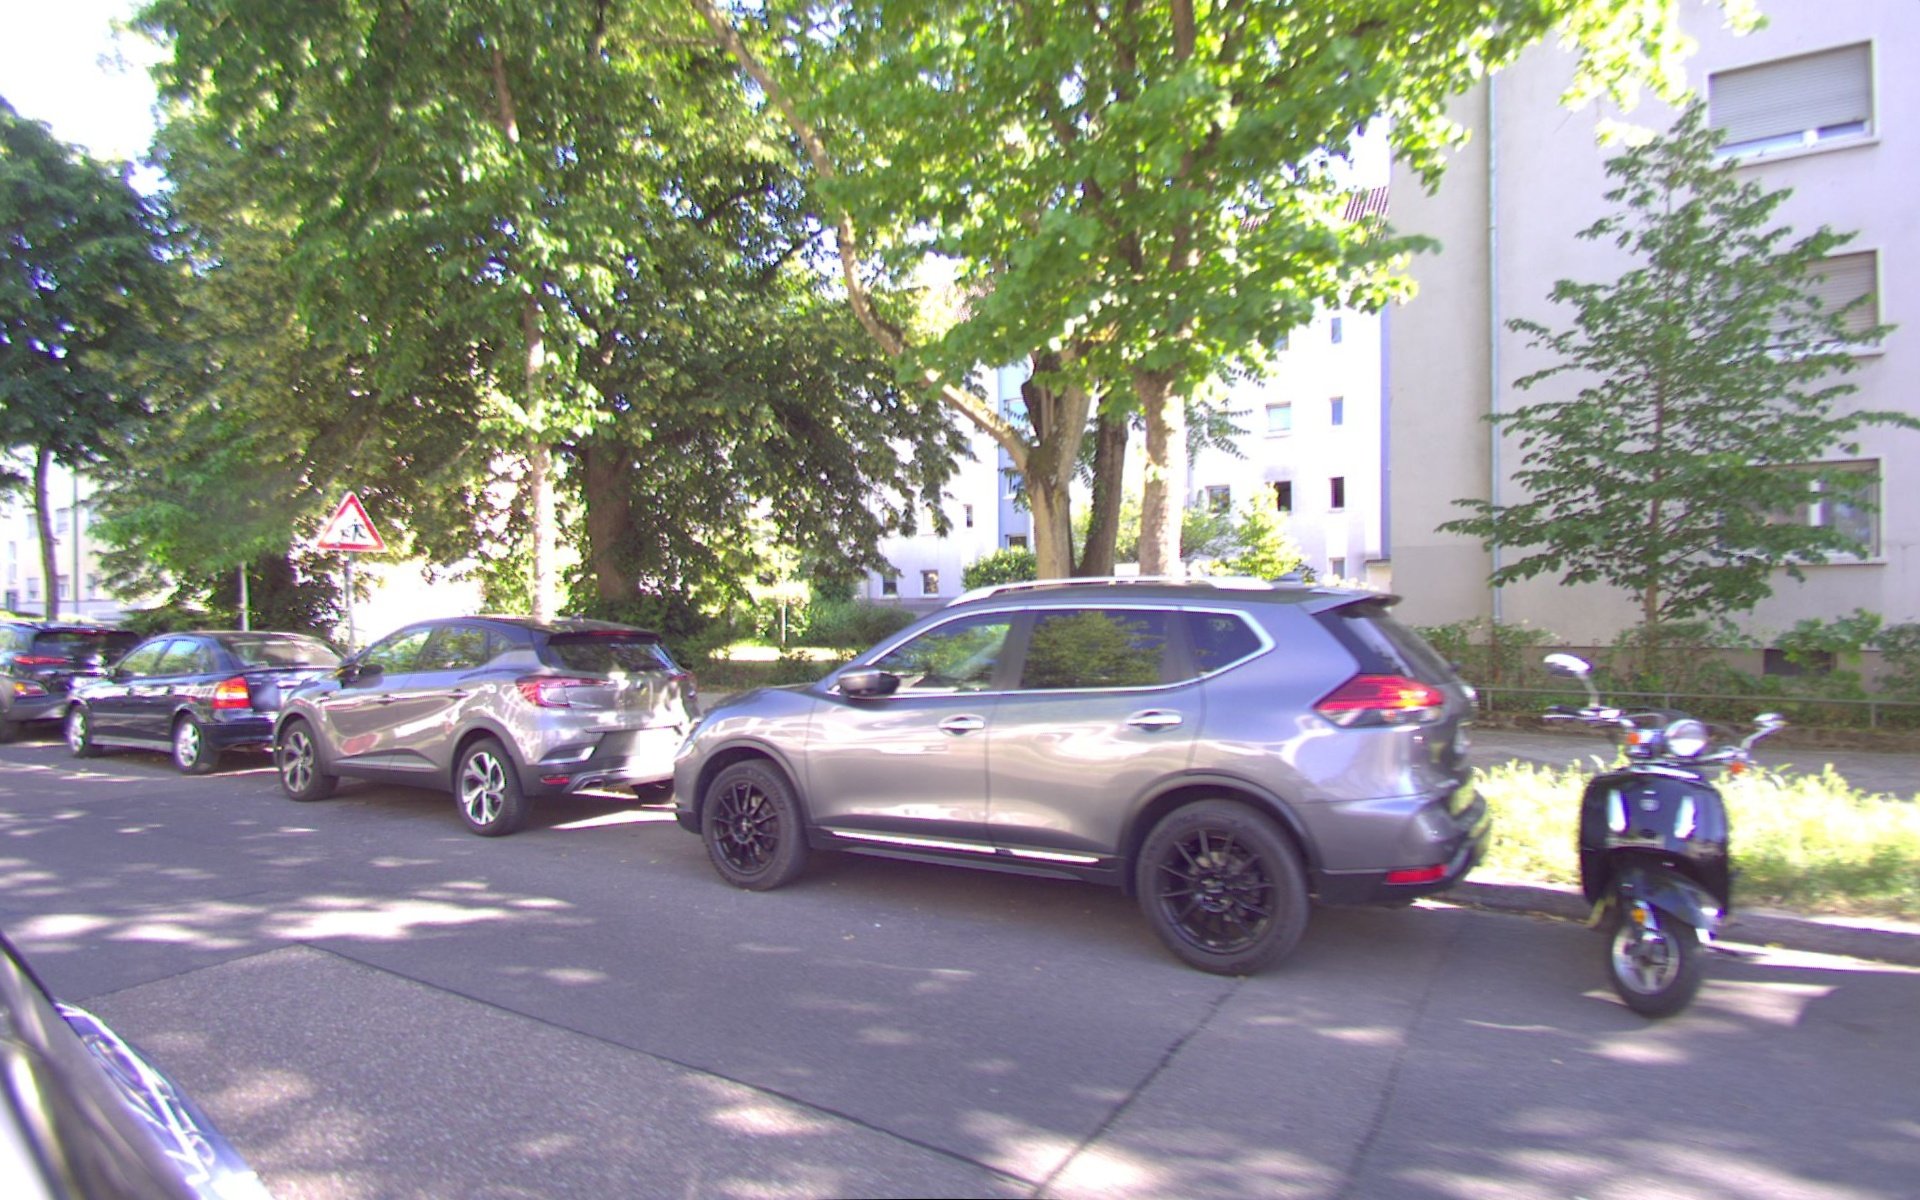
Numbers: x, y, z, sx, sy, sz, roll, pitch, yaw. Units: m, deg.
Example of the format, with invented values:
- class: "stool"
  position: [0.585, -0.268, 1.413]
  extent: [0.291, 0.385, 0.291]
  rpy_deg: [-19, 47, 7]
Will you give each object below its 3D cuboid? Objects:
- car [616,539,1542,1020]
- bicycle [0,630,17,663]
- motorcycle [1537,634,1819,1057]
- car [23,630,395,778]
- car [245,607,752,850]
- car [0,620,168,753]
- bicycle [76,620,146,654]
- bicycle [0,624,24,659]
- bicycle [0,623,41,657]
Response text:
- class: "car"
  position: [0.429, 0.686, 5.593]
  extent: [4.796, 1.701, 1.755]
  rpy_deg: [-1, -2, 31]
- class: "bicycle"
  position: [-31.919, 1.525, 33.490]
  extent: [1.927, 1.069, 0.568]
  rpy_deg: [-1, 0, 33]
- class: "motorcycle"
  position: [3.104, 0.834, 4.315]
  extent: [0.786, 1.342, 1.934]
  rpy_deg: [-1, -2, 39]
- class: "car"
  position: [-8.499, 1.025, 11.361]
  extent: [4.464, 1.363, 1.772]
  rpy_deg: [-1, -2, 31]
- class: "car"
  position: [-3.957, 0.865, 8.420]
  extent: [4.406, 1.543, 1.755]
  rpy_deg: [-1, -1, 33]
- class: "car"
  position: [-12.942, 1.087, 14.053]
  extent: [4.468, 1.589, 1.692]
  rpy_deg: [-1, -2, 33]
- class: "bicycle"
  position: [-32.986, 1.434, 39.326]
  extent: [0.774, 1.235, 1.939]
  rpy_deg: [-1, 0, 29]
- class: "bicycle"
  position: [-34.570, 1.487, 36.136]
  extent: [0.514, 1.235, 1.628]
  rpy_deg: [-1, 0, 22]
- class: "bicycle"
  position: [-35.916, 1.499, 38.146]
  extent: [0.515, 1.235, 1.807]
  rpy_deg: [-1, 0, 32]
